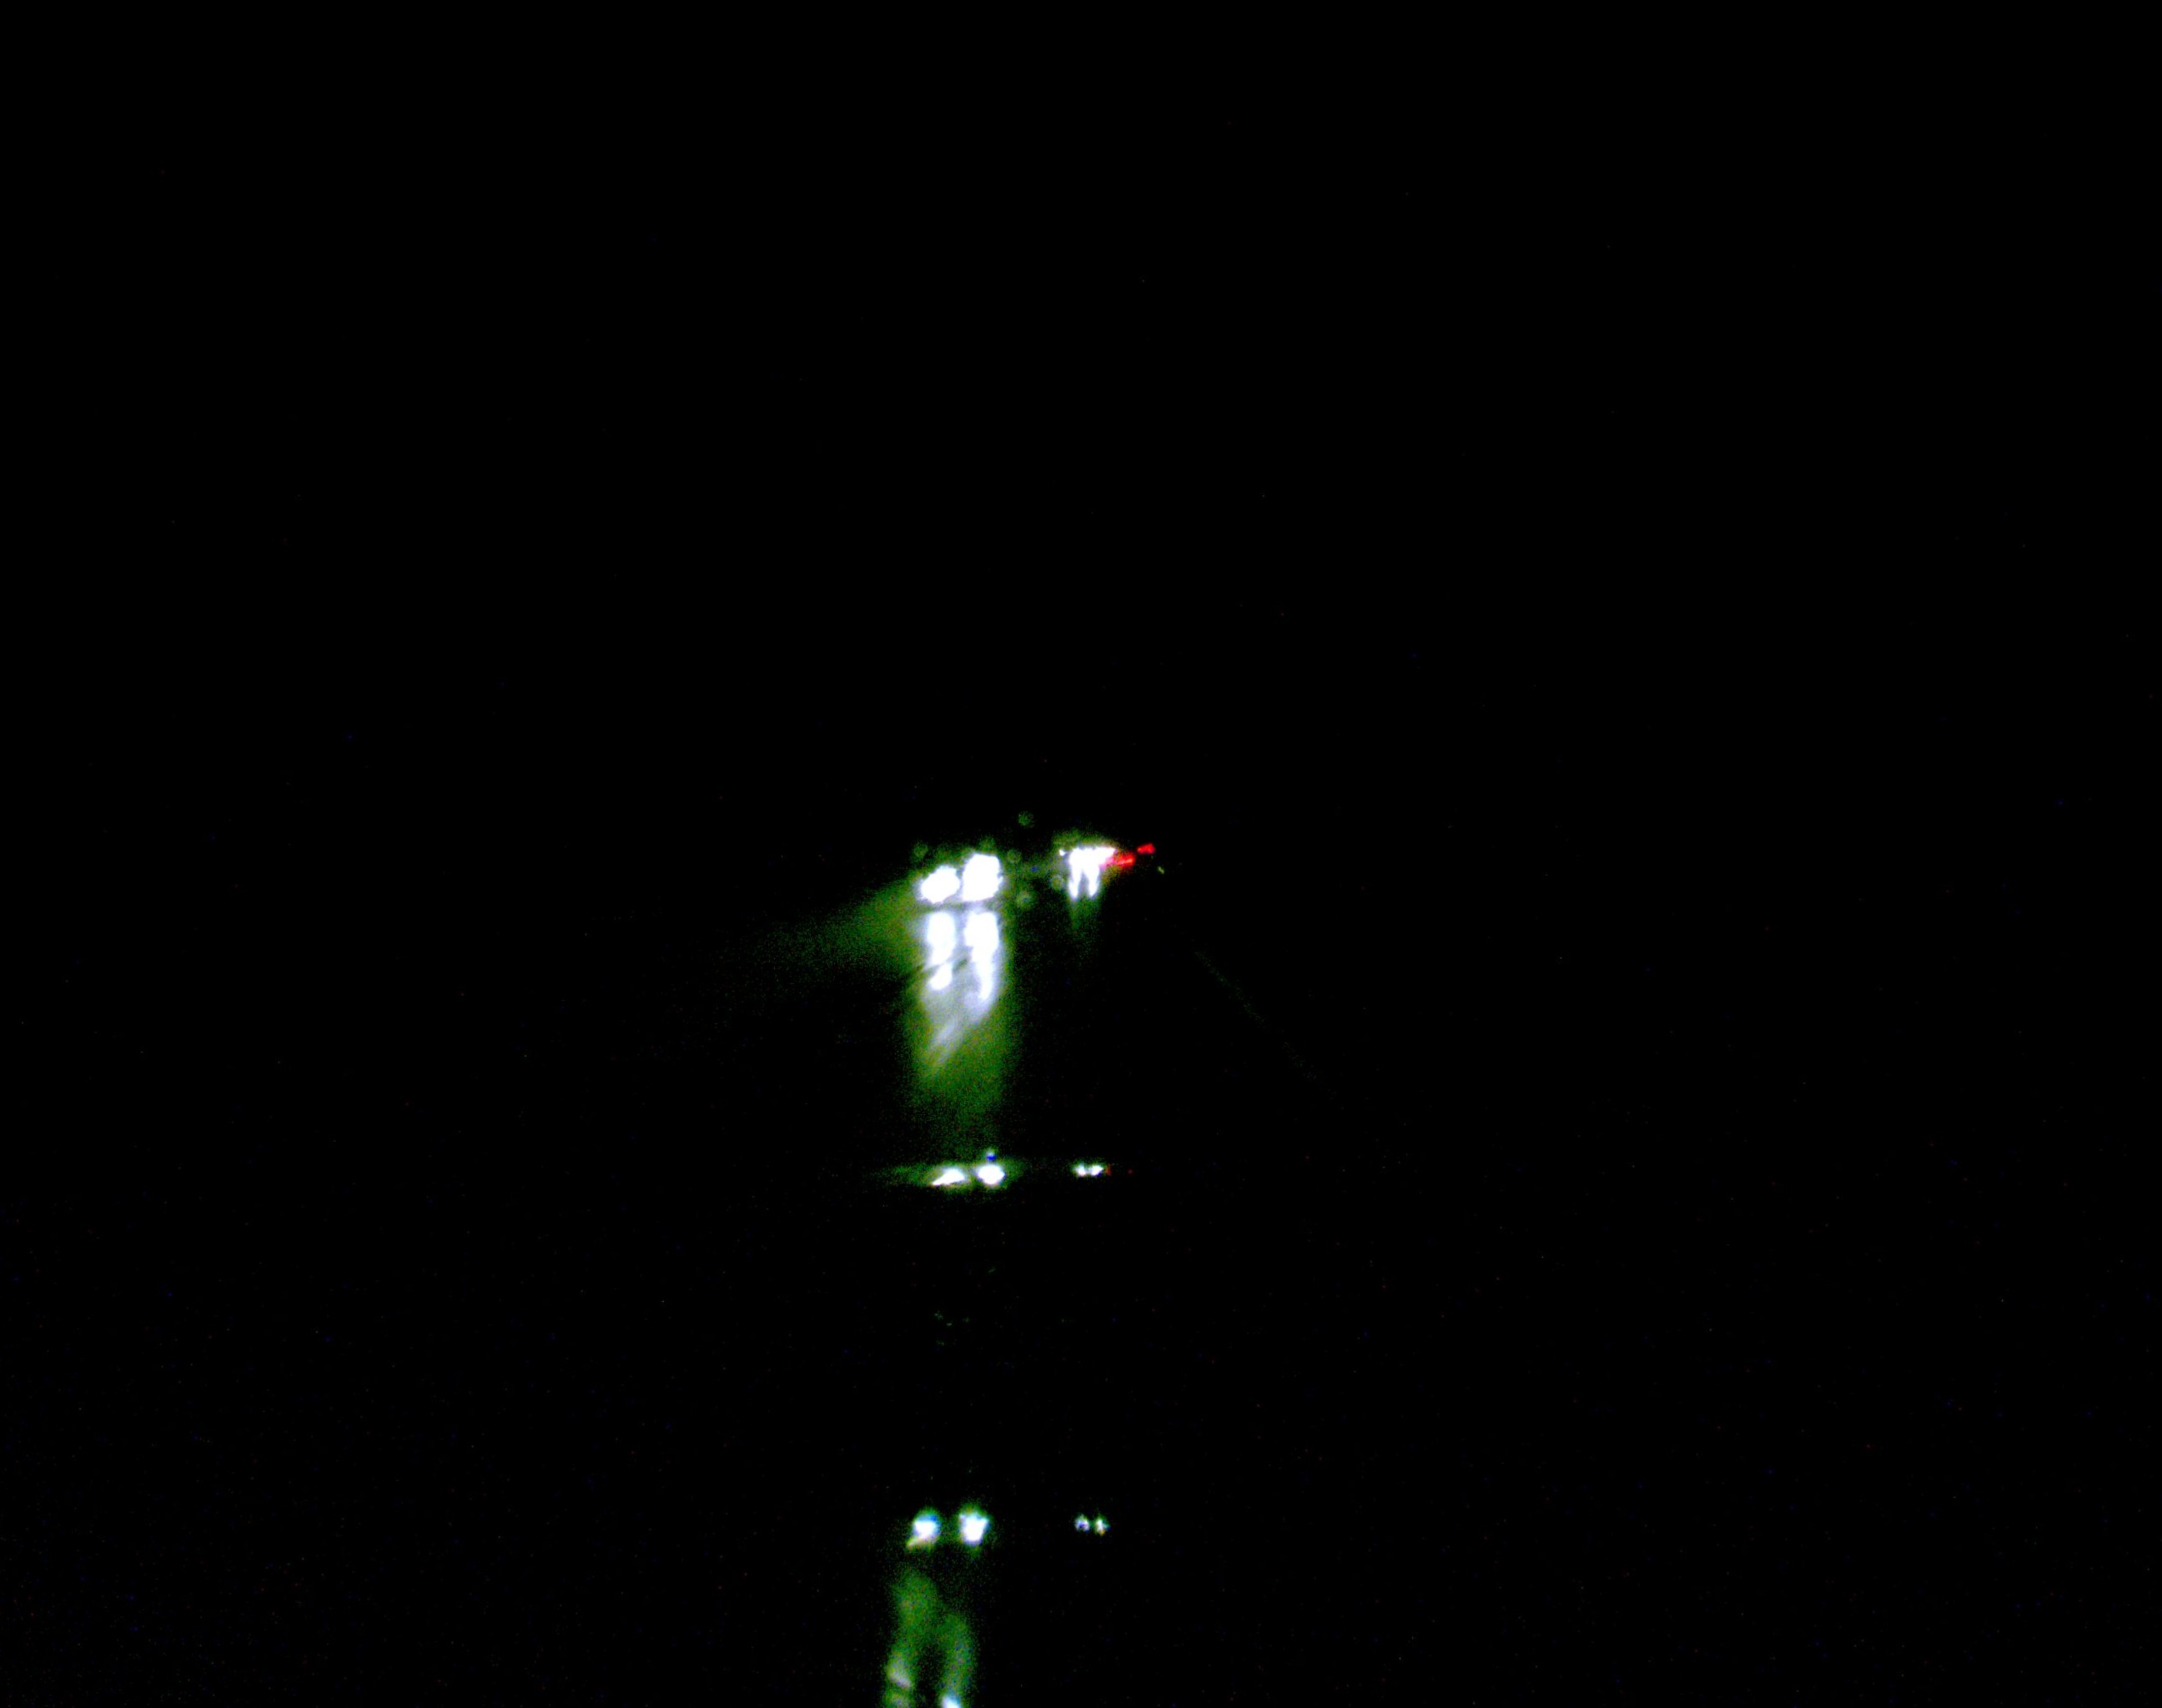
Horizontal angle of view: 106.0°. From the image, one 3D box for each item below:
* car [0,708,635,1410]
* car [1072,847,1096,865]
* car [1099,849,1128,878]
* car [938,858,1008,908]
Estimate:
[{"bbox_3d":[-3.845,0.602,3.201,1.796,1.928,4.002,-2,-1,2],"label":"car"},{"bbox_3d":[0.301,0.164,78.765,1.985,1.624,4.004,-1,0,4],"label":"car"},{"bbox_3d":[2.177,0.609,53.918,1.835,1.740,4.003,-2,1,2],"label":"car"},{"bbox_3d":[-3.285,0.862,25.376,1.590,1.402,3.471,-2,-1,1],"label":"car"}]
